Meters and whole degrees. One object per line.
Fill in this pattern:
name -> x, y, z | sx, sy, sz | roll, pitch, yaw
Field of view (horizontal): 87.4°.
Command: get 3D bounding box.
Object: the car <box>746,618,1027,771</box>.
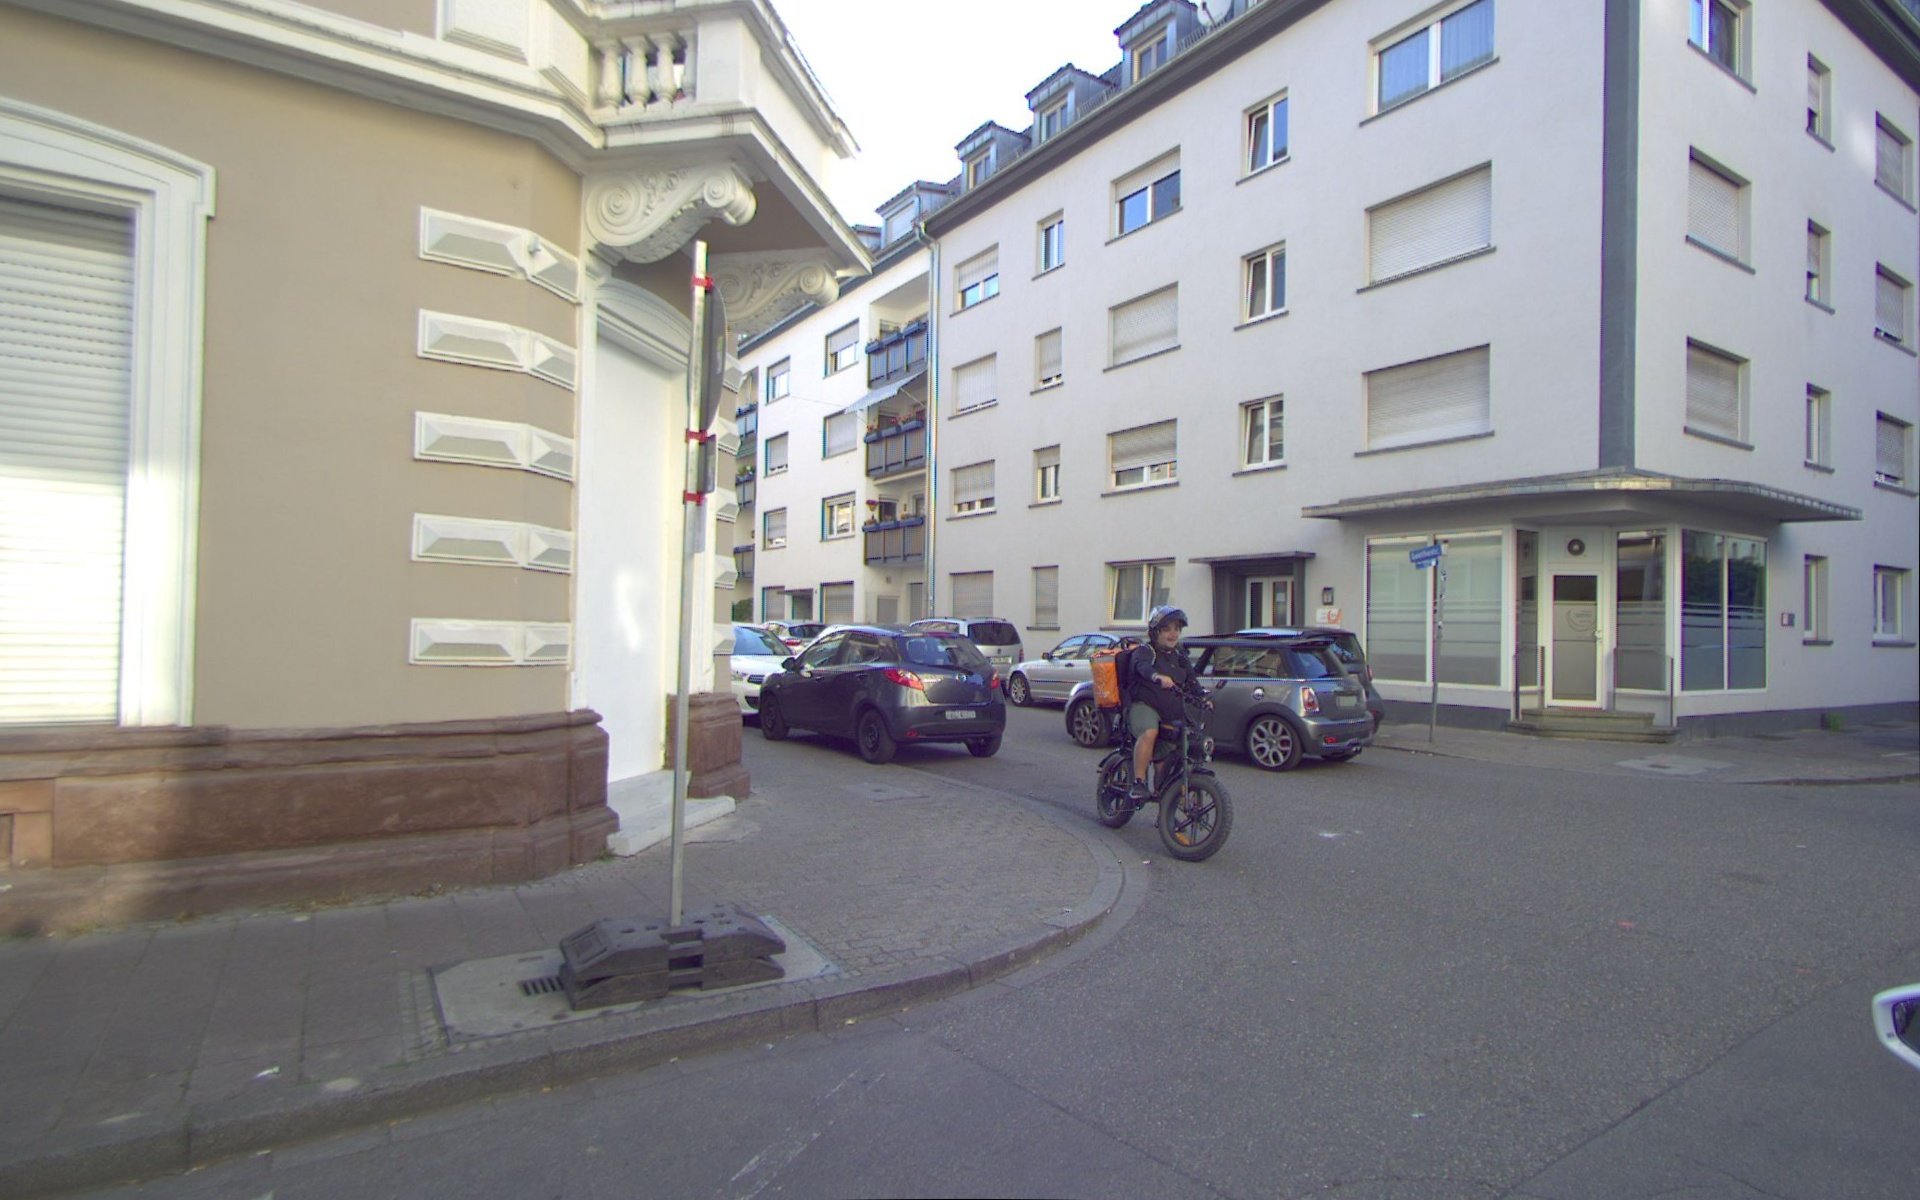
car -> -1.005, 1.002, 12.035 | 1.672, 1.499, 3.551 | 2, -1, -37

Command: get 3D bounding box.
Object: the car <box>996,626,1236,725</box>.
car -> 2.651, 1.258, 18.001 | 1.947, 1.472, 4.226 | 2, -1, -32

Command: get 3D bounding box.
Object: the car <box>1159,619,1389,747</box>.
car -> 4.404, 1.097, 14.340 | 1.630, 1.586, 2.740 | 2, -1, -32

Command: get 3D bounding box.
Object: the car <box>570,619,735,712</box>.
car -> -6.156, 1.204, 19.836 | 1.989, 1.581, 4.054 | 2, -1, -34

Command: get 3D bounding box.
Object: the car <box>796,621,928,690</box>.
car -> -2.614, 1.365, 26.001 | 1.611, 1.581, 4.053 | 2, -1, -35

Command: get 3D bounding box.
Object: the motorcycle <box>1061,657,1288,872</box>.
motorcycle -> 1.522, 1.118, 7.451 | 0.796, 1.266, 1.688 | 0, 1, -24

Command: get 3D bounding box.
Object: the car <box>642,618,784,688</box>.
car -> -6.149, 1.231, 24.598 | 1.979, 1.505, 4.621 | 2, -1, -33

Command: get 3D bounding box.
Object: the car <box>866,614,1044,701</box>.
car -> -0.207, 1.185, 21.953 | 1.979, 1.675, 4.055 | 2, -1, -34

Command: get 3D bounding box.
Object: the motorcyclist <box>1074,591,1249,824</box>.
motorcyclist -> 1.485, 0.734, 7.522 | 0.862, 1.589, 0.993 | 0, 1, -24

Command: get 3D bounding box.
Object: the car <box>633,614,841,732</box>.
car -> -3.667, 1.050, 16.006 | 1.817, 1.581, 4.053 | 2, -1, -35

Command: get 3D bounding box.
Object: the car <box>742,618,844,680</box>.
car -> -4.993, 1.398, 29.683 | 1.641, 1.666, 3.573 | 2, -1, -34

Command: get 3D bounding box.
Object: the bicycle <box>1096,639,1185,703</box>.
bicycle -> 3.681, 1.425, 20.632 | 0.484, 1.152, 2.038 | 2, 0, -34

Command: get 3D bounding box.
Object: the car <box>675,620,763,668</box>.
car -> -8.284, 1.463, 34.316 | 1.574, 1.507, 3.944 | 2, -1, -35

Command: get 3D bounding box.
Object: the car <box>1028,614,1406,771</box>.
car -> 2.967, 0.966, 12.078 | 3.944, 1.505, 1.988 | 0, -1, 44
